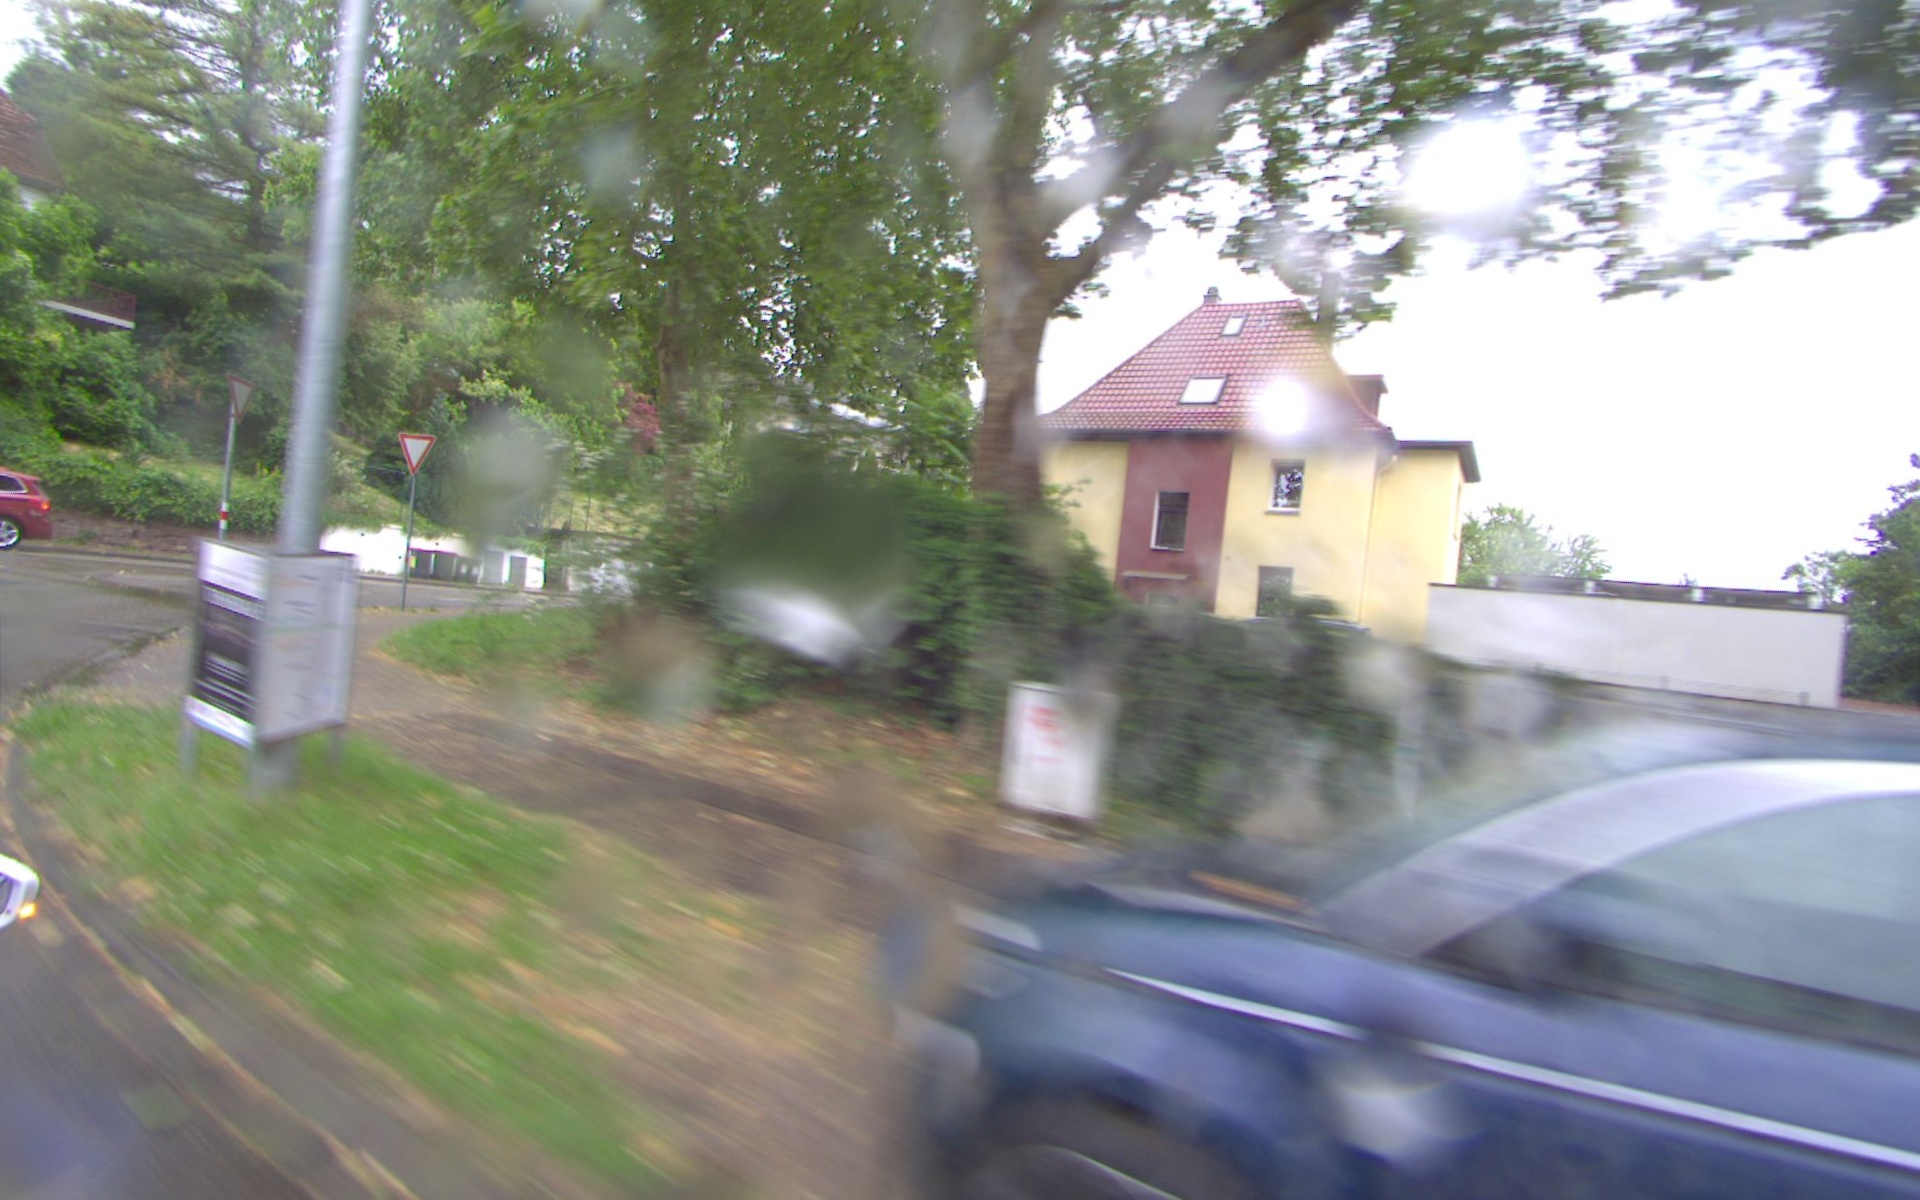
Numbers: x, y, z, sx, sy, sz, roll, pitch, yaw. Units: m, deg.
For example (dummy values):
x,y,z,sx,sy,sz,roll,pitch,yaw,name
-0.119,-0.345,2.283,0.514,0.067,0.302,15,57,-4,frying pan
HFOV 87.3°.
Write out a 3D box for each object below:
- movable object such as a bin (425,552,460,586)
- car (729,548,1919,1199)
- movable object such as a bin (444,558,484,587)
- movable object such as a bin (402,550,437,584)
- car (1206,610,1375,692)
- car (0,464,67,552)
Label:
x,y,z,sx,sy,sz,roll,pitch,yaw,name
-18.293,-1.085,35.553,0.625,1.073,0.793,5,0,30,movable object such as a bin
1.555,0.918,1.967,3.538,1.508,1.755,6,-3,29,car
-17.994,-0.980,36.502,0.838,0.927,0.952,5,0,29,movable object such as a bin
-18.753,-1.141,34.908,0.677,1.073,0.752,5,0,30,movable object such as a bin
7.598,1.153,23.209,3.372,1.490,1.488,5,0,30,car
-20.179,-1.990,18.998,1.745,1.620,4.574,5,-1,30,car
